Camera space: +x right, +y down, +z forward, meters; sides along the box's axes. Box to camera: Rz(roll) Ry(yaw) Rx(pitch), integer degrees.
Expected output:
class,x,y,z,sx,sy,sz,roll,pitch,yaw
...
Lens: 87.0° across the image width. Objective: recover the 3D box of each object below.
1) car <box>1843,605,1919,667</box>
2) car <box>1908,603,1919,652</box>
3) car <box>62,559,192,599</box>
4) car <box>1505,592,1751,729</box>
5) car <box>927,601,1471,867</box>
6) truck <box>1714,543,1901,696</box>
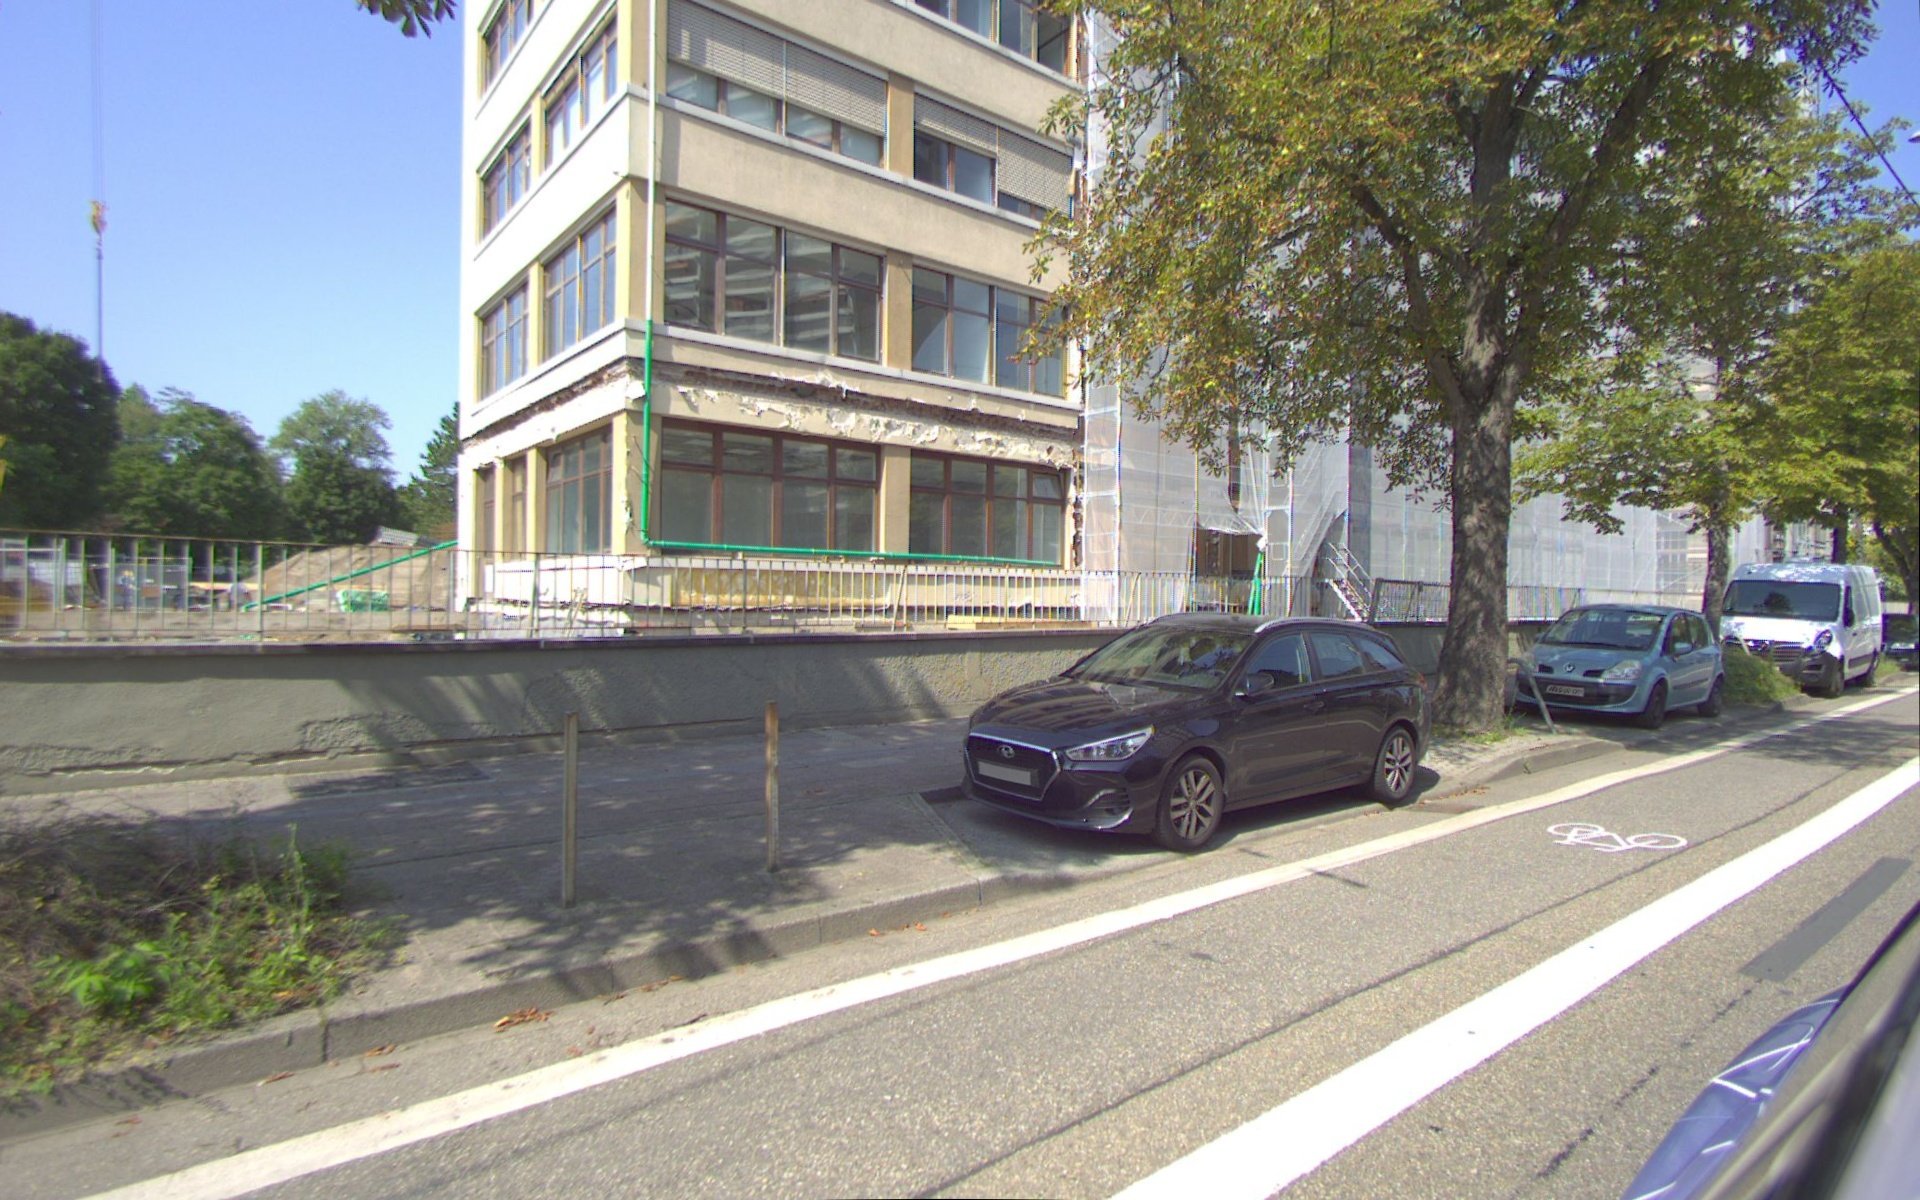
class,x,y,z,sx,sy,sz,roll,pitch,yaw
car,24.532,0.867,26.219,4.716,1.458,1.689,0,0,-39
car,32.418,0.879,33.018,4.058,1.519,1.689,0,0,-39
car,-34.308,-0.845,41.736,3.839,1.547,1.879,1,0,1
car,9.454,0.722,14.208,4.096,1.599,1.678,0,2,-39
car,2.078,0.782,7.913,4.579,1.476,1.678,0,1,-39
truck,16.797,0.315,19.941,5.493,2.632,1.920,0,0,-40
